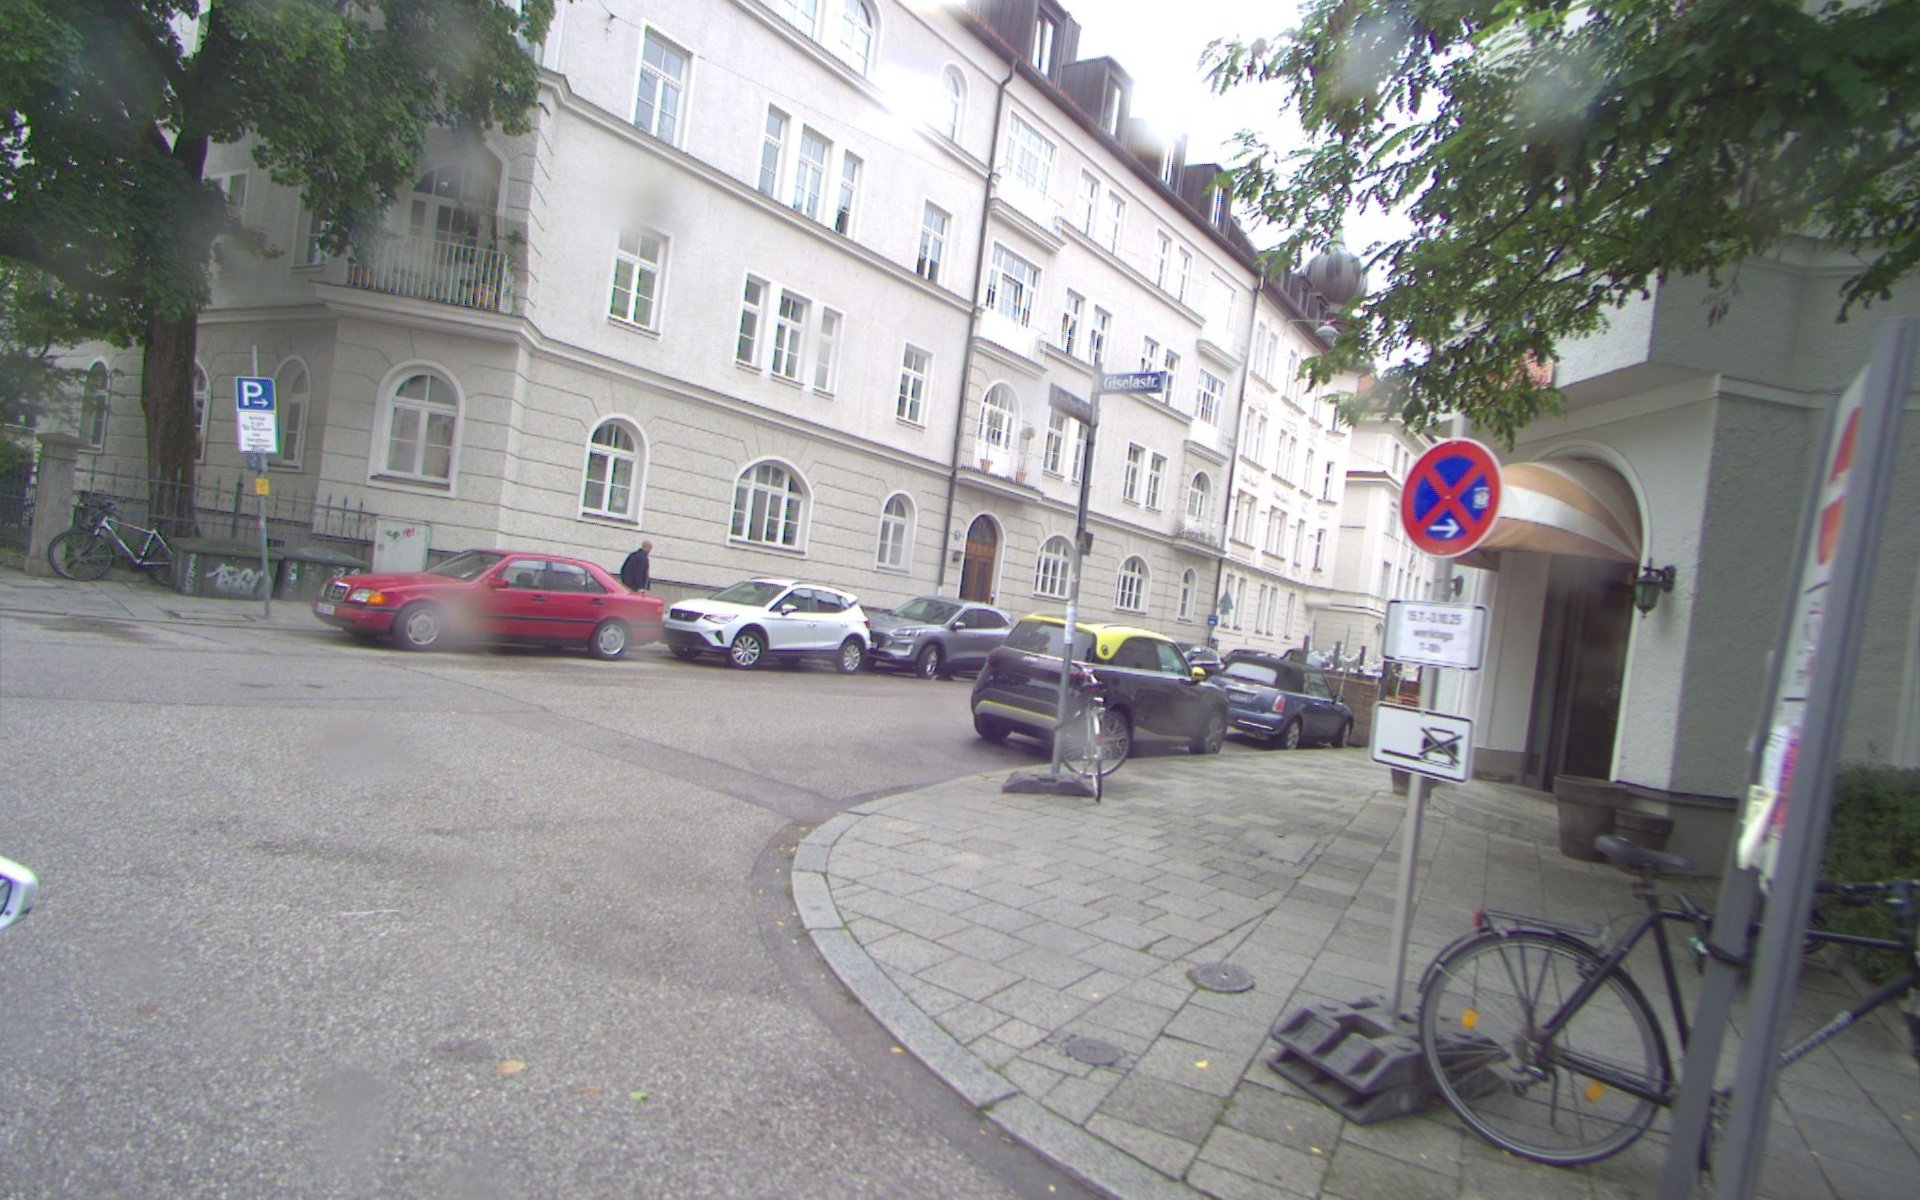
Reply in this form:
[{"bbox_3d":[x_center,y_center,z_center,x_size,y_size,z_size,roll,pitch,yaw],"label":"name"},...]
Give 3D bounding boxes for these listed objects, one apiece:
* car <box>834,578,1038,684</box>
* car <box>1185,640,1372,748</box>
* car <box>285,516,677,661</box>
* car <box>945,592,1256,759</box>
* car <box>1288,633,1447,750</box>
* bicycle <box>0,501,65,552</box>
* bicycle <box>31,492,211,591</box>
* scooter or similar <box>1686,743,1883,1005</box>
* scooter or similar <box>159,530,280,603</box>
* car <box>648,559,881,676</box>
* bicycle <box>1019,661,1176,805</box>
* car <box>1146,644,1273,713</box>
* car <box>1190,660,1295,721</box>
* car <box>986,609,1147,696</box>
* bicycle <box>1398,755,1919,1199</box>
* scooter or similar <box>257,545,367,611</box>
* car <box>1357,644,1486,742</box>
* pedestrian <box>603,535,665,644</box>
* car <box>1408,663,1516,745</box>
[{"bbox_3d":[-0.400,0.714,21.320,1.727,1.732,4.325,8,0,40],"label":"car"},{"bbox_3d":[5.478,1.632,17.073,1.676,1.442,3.527,7,-2,40],"label":"car"},{"bbox_3d":[-6.317,-0.066,13.777,1.733,1.374,4.469,8,-1,36],"label":"car"},{"bbox_3d":[1.921,1.010,12.732,1.878,1.616,4.073,7,-2,40],"label":"car"},{"bbox_3d":[8.477,1.937,20.747,1.749,1.992,3.918,7,-1,40],"label":"car"},{"bbox_3d":[-18.646,-1.487,20.110,2.236,0.821,0.492,7,-1,33],"label":"bicycle"},{"bbox_3d":[-12.092,-0.816,14.554,0.554,1.138,1.837,8,0,38],"label":"bicycle"},{"bbox_3d":[4.528,1.412,5.487,1.594,1.187,0.401,5,1,-38],"label":"scooter or similar"},{"bbox_3d":[-10.920,-0.483,14.851,0.910,0.858,1.183,7,-1,38],"label":"scooter or similar"},{"bbox_3d":[-3.250,0.369,17.424,1.540,1.539,3.890,8,-1,34],"label":"car"},{"bbox_3d":[1.248,1.114,8.860,0.727,1.082,1.602,4,-1,32],"label":"bicycle"},{"bbox_3d":[7.935,2.516,31.721,1.864,1.683,4.271,8,0,44],"label":"car"},{"bbox_3d":[9.770,3.148,34.616,1.861,1.683,4.279,7,-1,38],"label":"car"},{"bbox_3d":[2.750,1.354,25.116,1.861,1.683,4.278,8,0,38],"label":"car"},{"bbox_3d":[2.276,1.202,3.057,1.565,1.160,0.388,7,0,36],"label":"bicycle"},{"bbox_3d":[-10.226,-0.339,15.896,0.686,0.835,1.237,7,-1,38],"label":"scooter or similar"},{"bbox_3d":[10.991,2.248,23.847,1.705,1.958,3.647,7,-1,40],"label":"car"},{"bbox_3d":[-6.006,-0.186,18.534,0.729,1.898,0.495,7,0,24],"label":"pedestrian"},{"bbox_3d":[13.622,2.845,27.185,1.716,1.834,3.987,7,-1,38],"label":"car"}]
